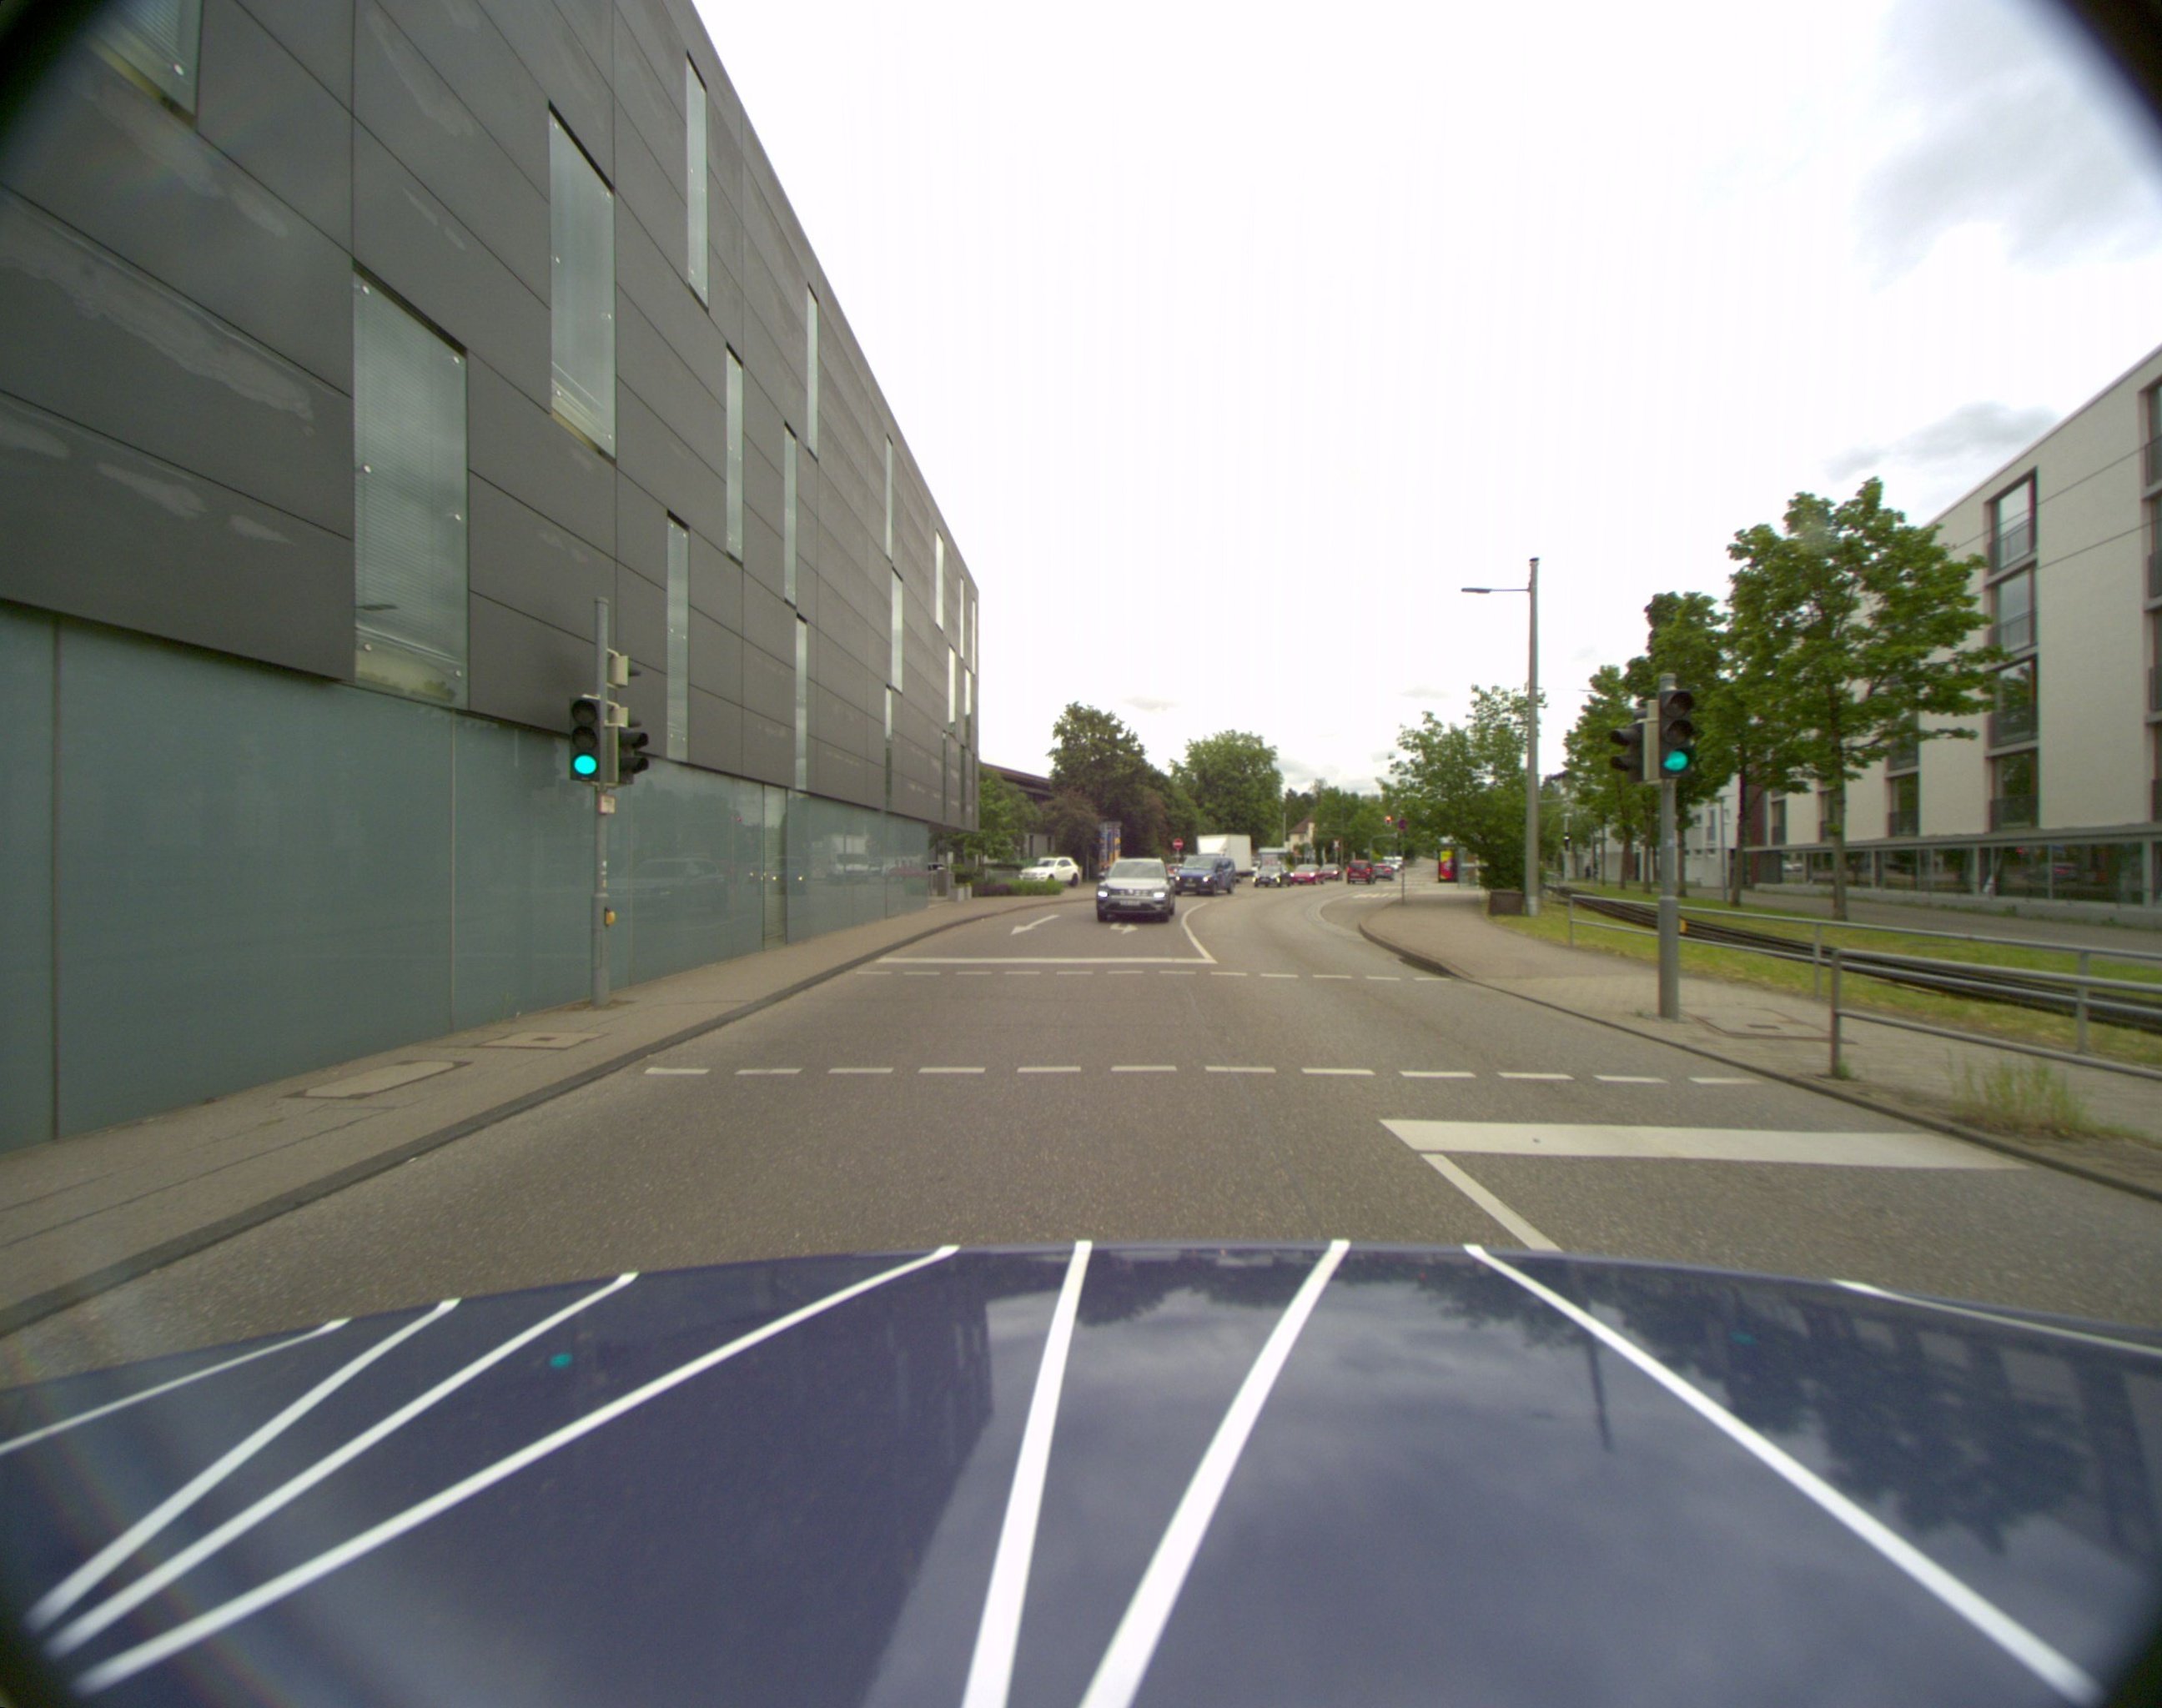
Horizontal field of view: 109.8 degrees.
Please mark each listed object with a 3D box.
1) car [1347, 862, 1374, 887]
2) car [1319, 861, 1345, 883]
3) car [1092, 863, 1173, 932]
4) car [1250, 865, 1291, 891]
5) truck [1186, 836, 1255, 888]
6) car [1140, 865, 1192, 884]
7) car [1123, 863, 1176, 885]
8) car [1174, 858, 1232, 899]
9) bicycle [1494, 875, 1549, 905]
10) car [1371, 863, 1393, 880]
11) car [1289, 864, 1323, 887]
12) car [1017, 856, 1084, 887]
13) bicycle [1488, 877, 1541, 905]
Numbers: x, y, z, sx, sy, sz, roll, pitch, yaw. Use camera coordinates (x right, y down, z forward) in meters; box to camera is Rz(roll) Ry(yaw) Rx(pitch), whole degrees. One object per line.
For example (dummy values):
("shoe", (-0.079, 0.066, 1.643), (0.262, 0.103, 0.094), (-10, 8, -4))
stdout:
("car", (21.599, 1.551, 58.712), (1.682, 1.798, 4.359), (2, 0, 23))
("car", (22.318, 1.549, 67.466), (1.846, 1.850, 4.265), (0, 0, 24))
("car", (1.490, 1.070, 20.430), (1.810, 1.637, 4.334), (0, 0, 8))
("car", (12.201, 1.507, 48.750), (1.846, 1.525, 4.007), (1, 0, 23))
("truck", (10.050, 0.497, 54.039), (2.536, 3.406, 7.790), (0, 0, 28))
("car", (6.897, 1.629, 62.068), (3.998, 1.401, 1.524), (-2, 0, -4))
("car", (5.120, 1.471, 57.146), (3.894, 1.474, 1.683), (-2, 0, 3))
("car", (5.860, 1.109, 36.164), (1.846, 1.850, 4.007), (0, 0, 23))
("bicycle", (16.300, 1.345, 28.156), (1.707, 1.082, 0.408), (-1, -1, 15))
("car", (27.533, 1.600, 69.386), (1.769, 1.470, 4.007), (2, 0, 22))
("car", (16.146, 1.517, 54.415), (1.846, 1.525, 4.007), (1, 0, 23))
("car", (-1.713, 0.984, 44.370), (1.853, 1.747, 4.731), (0, 0, 27))
("bicycle", (16.518, 1.394, 28.986), (1.749, 1.040, 0.409), (-2, -1, 29))
